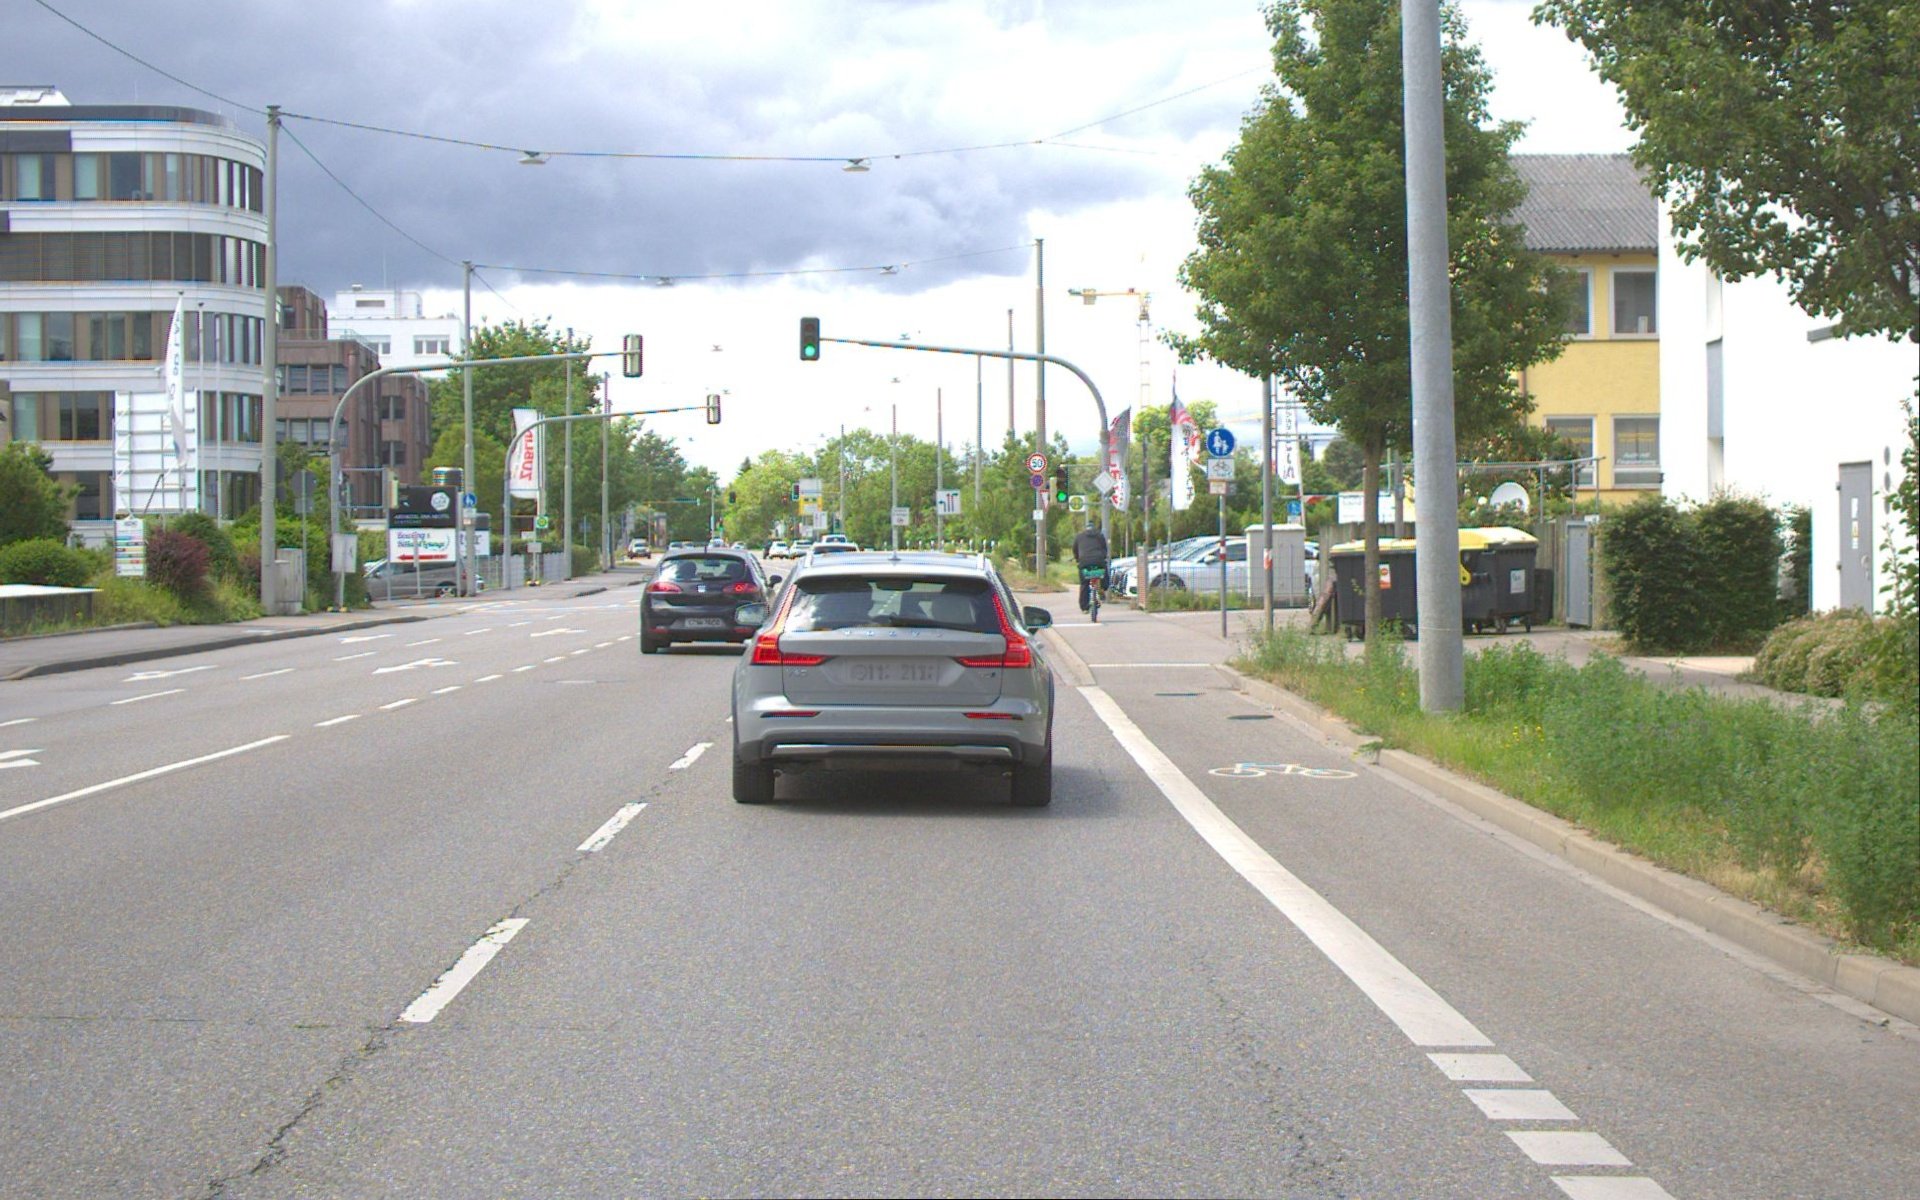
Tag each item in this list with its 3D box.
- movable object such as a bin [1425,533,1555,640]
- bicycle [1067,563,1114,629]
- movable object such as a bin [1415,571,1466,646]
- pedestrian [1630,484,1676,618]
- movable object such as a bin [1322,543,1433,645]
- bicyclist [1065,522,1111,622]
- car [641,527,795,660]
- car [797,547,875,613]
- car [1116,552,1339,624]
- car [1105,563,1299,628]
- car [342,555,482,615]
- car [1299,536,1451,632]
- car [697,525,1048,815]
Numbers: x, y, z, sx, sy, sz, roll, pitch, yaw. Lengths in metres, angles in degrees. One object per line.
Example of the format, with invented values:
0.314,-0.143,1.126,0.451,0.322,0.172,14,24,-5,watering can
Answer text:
7.227,-0.175,46.876,1.322,1.430,1.248,-1,-1,36,movable object such as a bin
2.226,-0.076,58.760,0.638,1.059,1.977,-4,1,0,bicycle
6.645,0.120,47.564,0.567,1.023,0.405,-1,-1,37,movable object such as a bin
9.203,-0.651,45.655,0.507,1.759,0.500,2,-1,16,pedestrian
5.665,-0.068,46.617,1.320,1.356,1.250,0,-1,16,movable object such as a bin
2.191,-0.481,58.761,0.638,1.670,0.890,-4,0,0,bicyclist
-3.319,-0.078,47.667,1.993,1.711,4.000,2,0,-3,car
-3.333,-0.515,93.109,1.993,1.689,4.000,2,0,-1,car
5.856,-0.275,75.669,4.696,1.488,2.046,1,1,-1,car
5.699,-0.120,81.428,4.368,1.399,1.989,1,1,-2,car
-16.935,-0.472,106.396,4.092,1.393,1.909,-6,2,-8,car
6.993,-0.295,58.314,1.875,1.540,4.522,-1,1,-2,car
-0.483,0.396,21.011,1.895,1.549,4.000,2,0,0,car
